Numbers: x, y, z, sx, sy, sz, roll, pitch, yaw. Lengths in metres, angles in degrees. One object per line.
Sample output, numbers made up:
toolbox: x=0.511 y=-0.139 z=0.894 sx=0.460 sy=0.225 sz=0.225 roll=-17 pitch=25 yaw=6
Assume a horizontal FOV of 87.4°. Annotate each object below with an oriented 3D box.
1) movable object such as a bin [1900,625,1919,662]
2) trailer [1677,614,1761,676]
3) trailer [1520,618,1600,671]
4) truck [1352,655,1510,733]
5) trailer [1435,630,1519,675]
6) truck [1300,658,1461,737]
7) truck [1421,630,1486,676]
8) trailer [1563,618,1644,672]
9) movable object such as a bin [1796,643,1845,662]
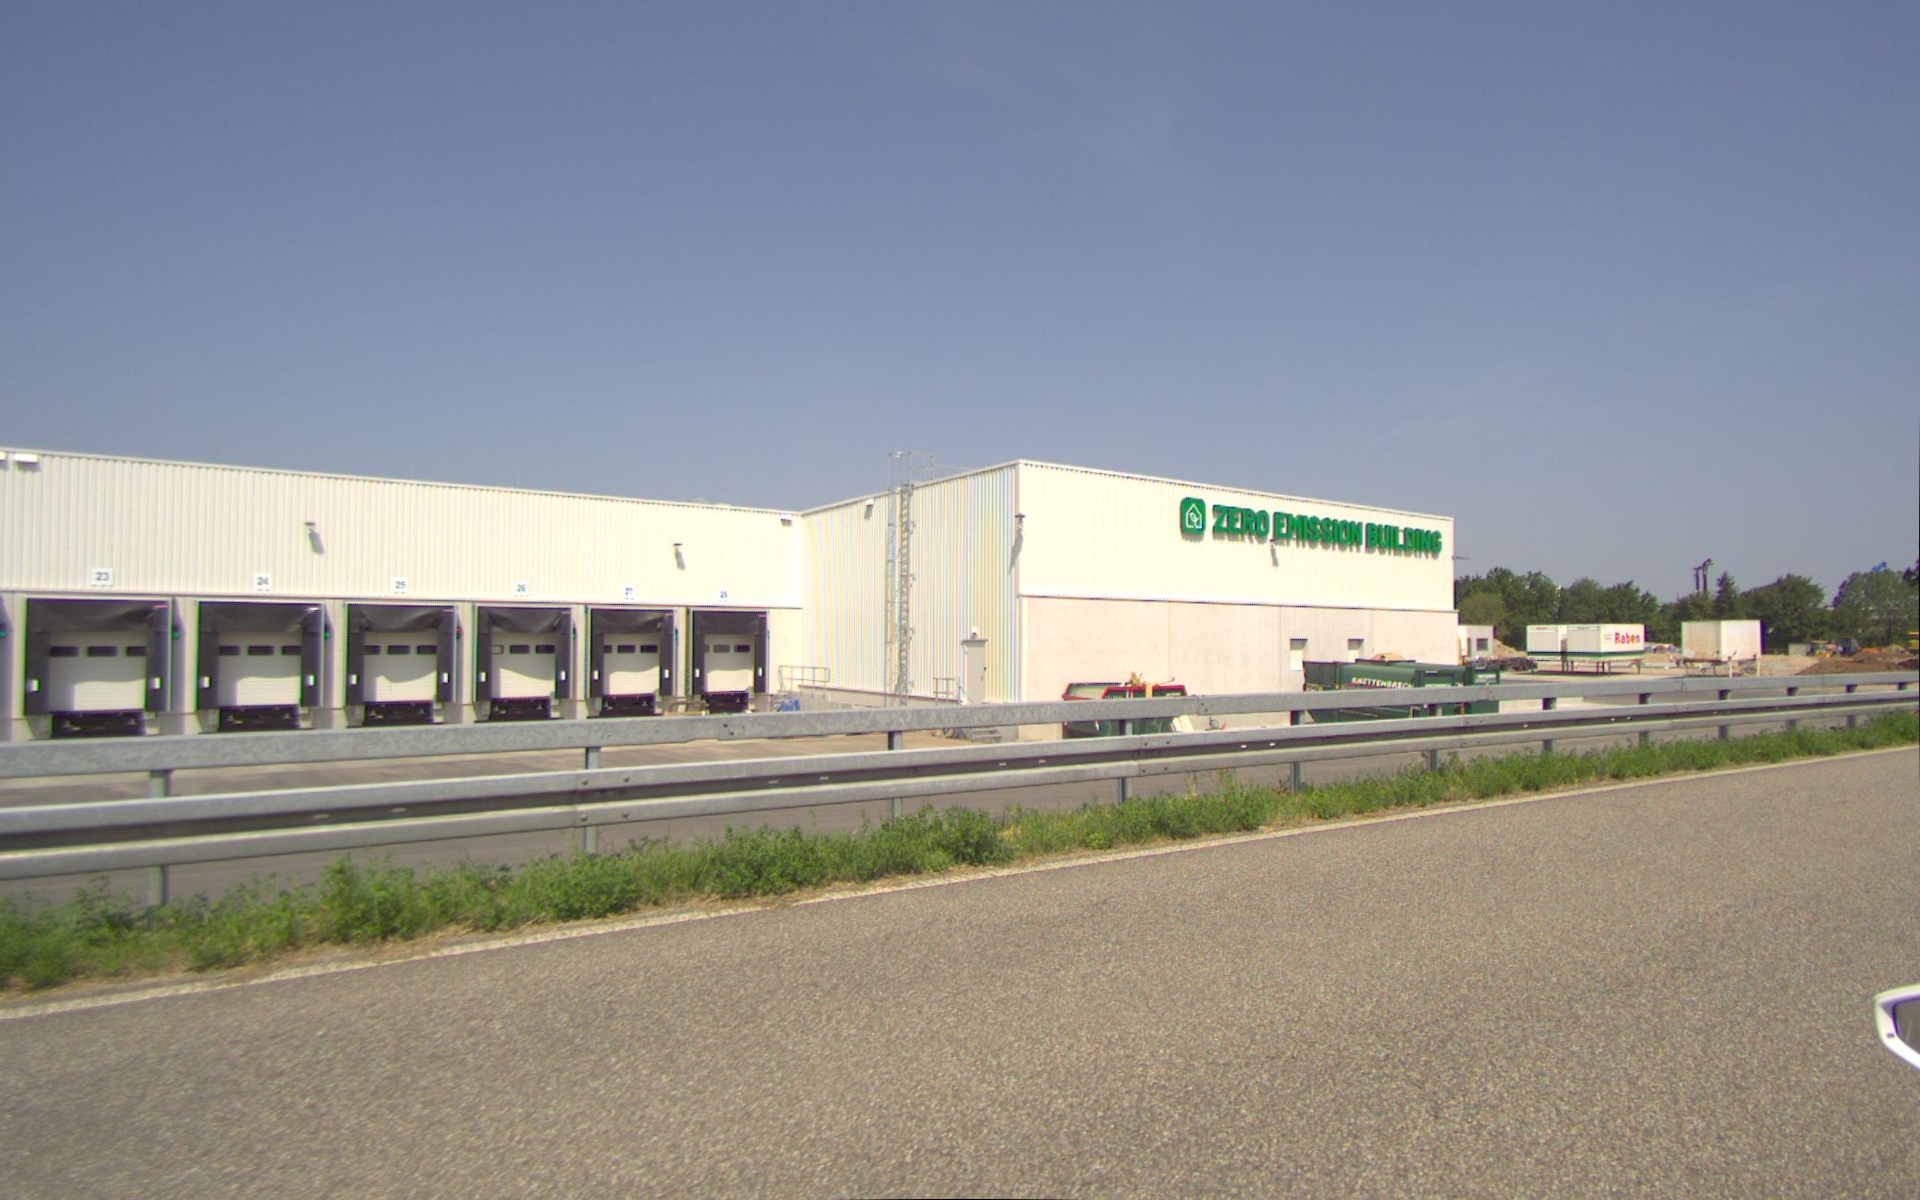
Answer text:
movable object such as a bin: x=98.690 y=4.515 z=103.294 sx=2.591 sy=3.700 sz=5.434 roll=-4 pitch=-4 yaw=41
trailer: x=56.780 y=3.249 z=75.093 sx=7.871 sy=4.390 sz=2.662 roll=1 pitch=-1 yaw=-35
trailer: x=50.626 y=3.658 z=84.678 sx=7.459 sy=4.275 sz=2.837 roll=0 pitch=-1 yaw=-34
truck: x=17.788 y=3.460 z=38.160 sx=2.250 sy=2.571 sz=5.013 roll=2 pitch=-1 yaw=-34
trailer: x=44.332 y=4.382 z=85.957 sx=11.078 sy=3.556 sz=2.348 roll=1 pitch=-1 yaw=-40
truck: x=14.692 y=3.333 z=35.405 sx=2.206 sy=2.364 sz=4.986 roll=1 pitch=-1 yaw=-30
truck: x=40.780 y=4.339 z=82.917 sx=6.798 sy=3.556 sz=2.348 roll=1 pitch=-1 yaw=-40
trailer: x=52.703 y=3.613 z=82.185 sx=7.814 sy=4.203 sz=2.727 roll=0 pitch=-1 yaw=-34
movable object such as a bin: x=95.759 y=5.852 z=111.806 sx=1.987 sy=2.039 sz=3.950 roll=2 pitch=-5 yaw=-44
